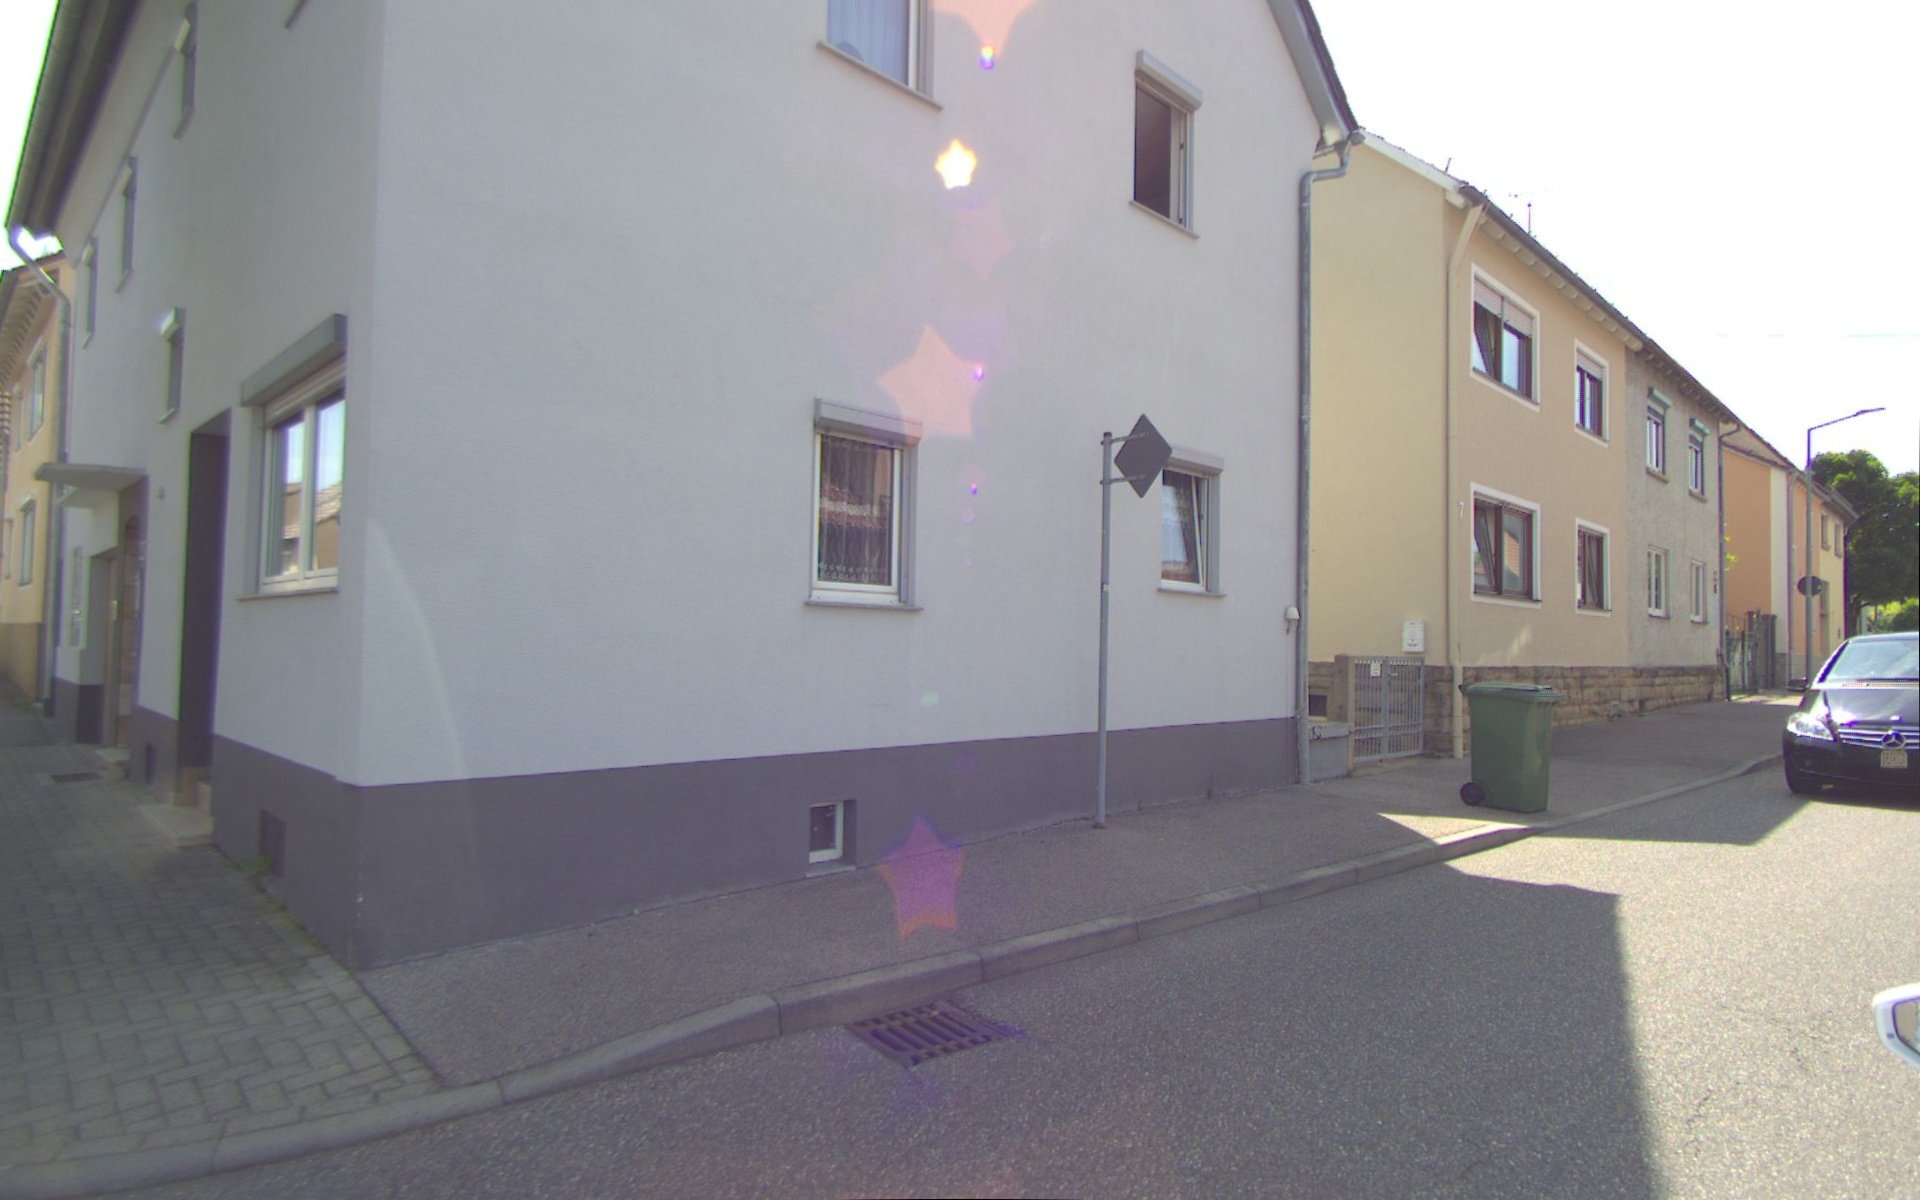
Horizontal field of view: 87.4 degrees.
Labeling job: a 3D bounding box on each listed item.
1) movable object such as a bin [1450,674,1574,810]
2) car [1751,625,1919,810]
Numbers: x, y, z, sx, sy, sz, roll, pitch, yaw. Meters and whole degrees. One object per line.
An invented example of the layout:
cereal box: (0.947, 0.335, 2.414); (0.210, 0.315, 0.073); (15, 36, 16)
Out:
movable object such as a bin: (4.845, 1.216, 8.824); (0.673, 1.074, 0.748); (1, -1, -36)
car: (9.620, 1.064, 10.052); (4.035, 1.576, 1.786); (2, -3, -38)
